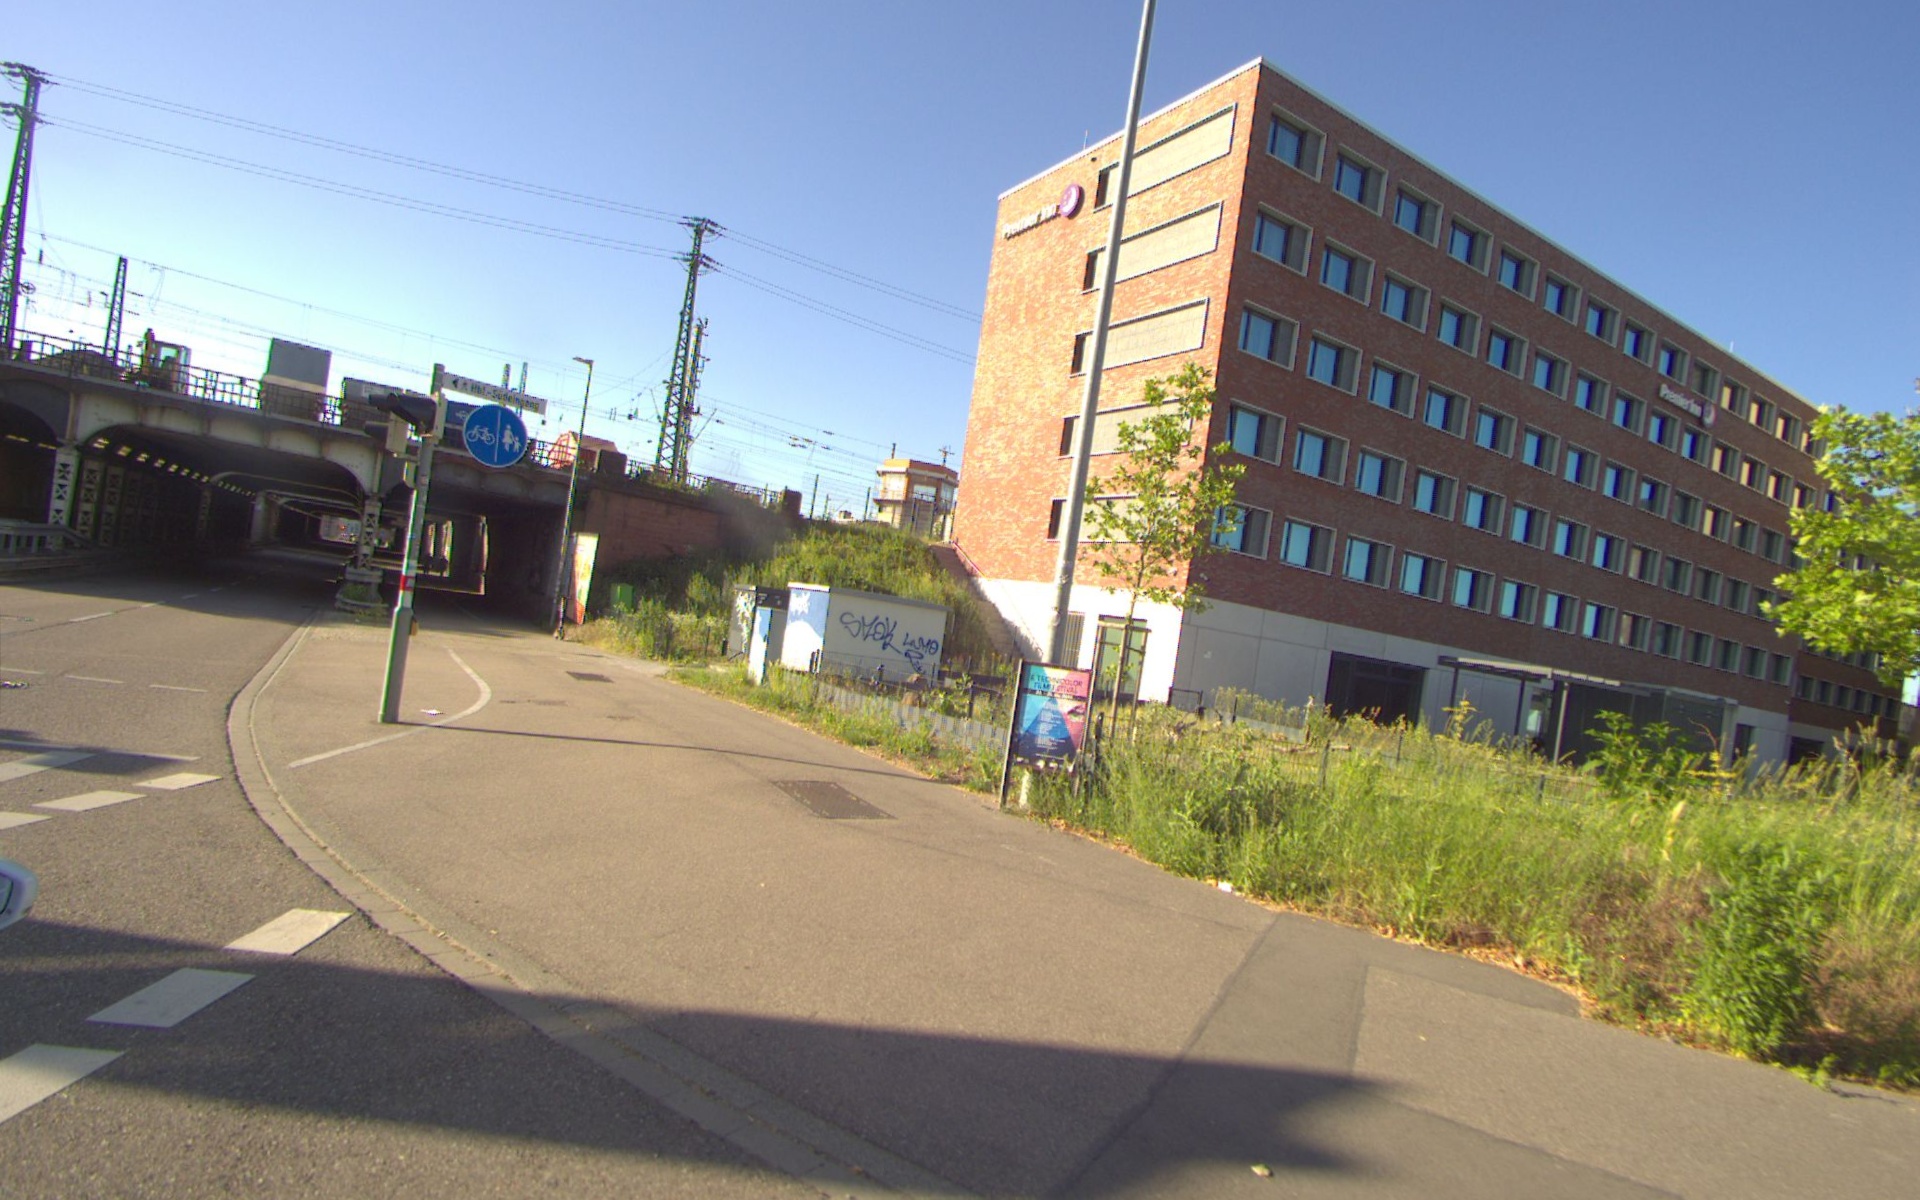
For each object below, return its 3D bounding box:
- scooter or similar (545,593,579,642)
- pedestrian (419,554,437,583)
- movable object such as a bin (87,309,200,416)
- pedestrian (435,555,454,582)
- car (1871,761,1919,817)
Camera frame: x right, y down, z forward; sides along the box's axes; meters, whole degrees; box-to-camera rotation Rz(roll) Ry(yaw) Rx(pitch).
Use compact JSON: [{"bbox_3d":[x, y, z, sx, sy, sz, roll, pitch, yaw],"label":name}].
[{"bbox_3d":[-10.886,0.466,27.486,0.533,1.210,1.281,9,-2,-31],"label":"scooter or similar"},{"bbox_3d":[-36.364,-2.142,68.773,0.874,1.858,0.914,6,1,-34],"label":"pedestrian"},{"bbox_3d":[-27.495,-7.923,34.069,1.980,2.251,4.795,9,-3,-30],"label":"movable object such as a bin"},{"bbox_3d":[-35.431,-2.165,69.123,0.910,1.677,0.878,6,1,-34],"label":"pedestrian"},{"bbox_3d":[45.680,9.130,48.032,4.892,2.289,1.853,10,-2,-33],"label":"car"}]
